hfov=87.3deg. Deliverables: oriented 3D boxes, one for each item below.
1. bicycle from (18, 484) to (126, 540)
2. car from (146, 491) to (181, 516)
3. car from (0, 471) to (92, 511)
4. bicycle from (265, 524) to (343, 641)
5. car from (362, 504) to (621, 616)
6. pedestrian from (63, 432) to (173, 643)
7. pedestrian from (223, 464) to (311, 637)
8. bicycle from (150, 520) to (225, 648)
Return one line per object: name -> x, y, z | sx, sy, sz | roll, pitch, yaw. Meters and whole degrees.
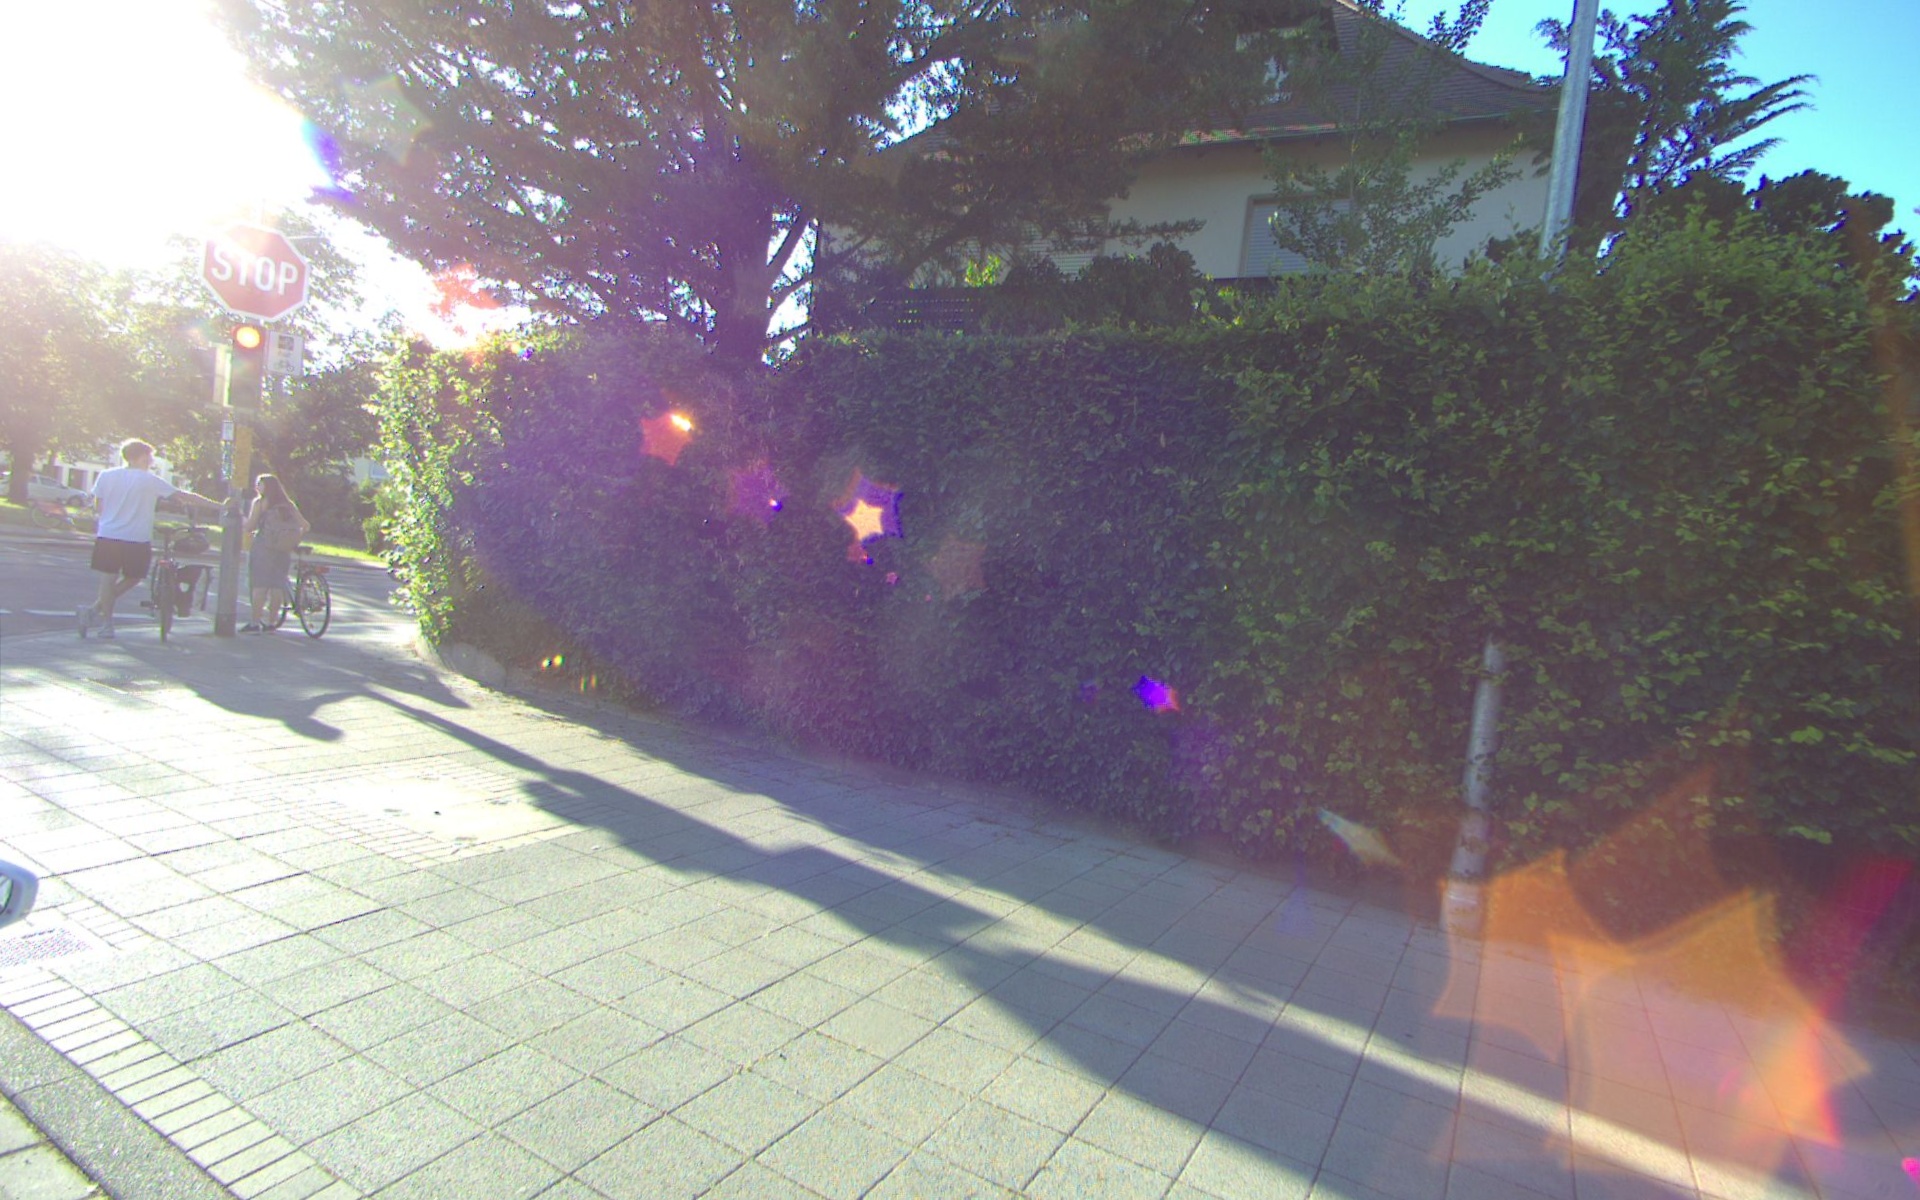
bicycle -> -23.200, -2.288, 26.318 | 0.609, 1.146, 1.956 | 8, 1, 32
car -> -55.261, -6.684, 69.836 | 1.654, 1.435, 3.507 | 7, 1, -36
car -> -46.389, -5.500, 50.546 | 1.569, 1.445, 3.854 | 7, 0, 26
bicycle -> -7.096, -0.214, 10.850 | 0.484, 1.158, 1.580 | 3, 2, -39
car -> -9.105, -0.695, 20.040 | 1.845, 1.685, 4.560 | 8, 1, 21
pedestrian -> -7.984, -0.575, 9.576 | 0.664, 1.892, 0.874 | 0, 4, -32
pedestrian -> -7.306, -0.508, 10.600 | 0.665, 1.731, 0.616 | 2, 3, -40
bicycle -> -7.603, -0.189, 9.874 | 0.484, 1.112, 1.770 | 3, 3, -40
